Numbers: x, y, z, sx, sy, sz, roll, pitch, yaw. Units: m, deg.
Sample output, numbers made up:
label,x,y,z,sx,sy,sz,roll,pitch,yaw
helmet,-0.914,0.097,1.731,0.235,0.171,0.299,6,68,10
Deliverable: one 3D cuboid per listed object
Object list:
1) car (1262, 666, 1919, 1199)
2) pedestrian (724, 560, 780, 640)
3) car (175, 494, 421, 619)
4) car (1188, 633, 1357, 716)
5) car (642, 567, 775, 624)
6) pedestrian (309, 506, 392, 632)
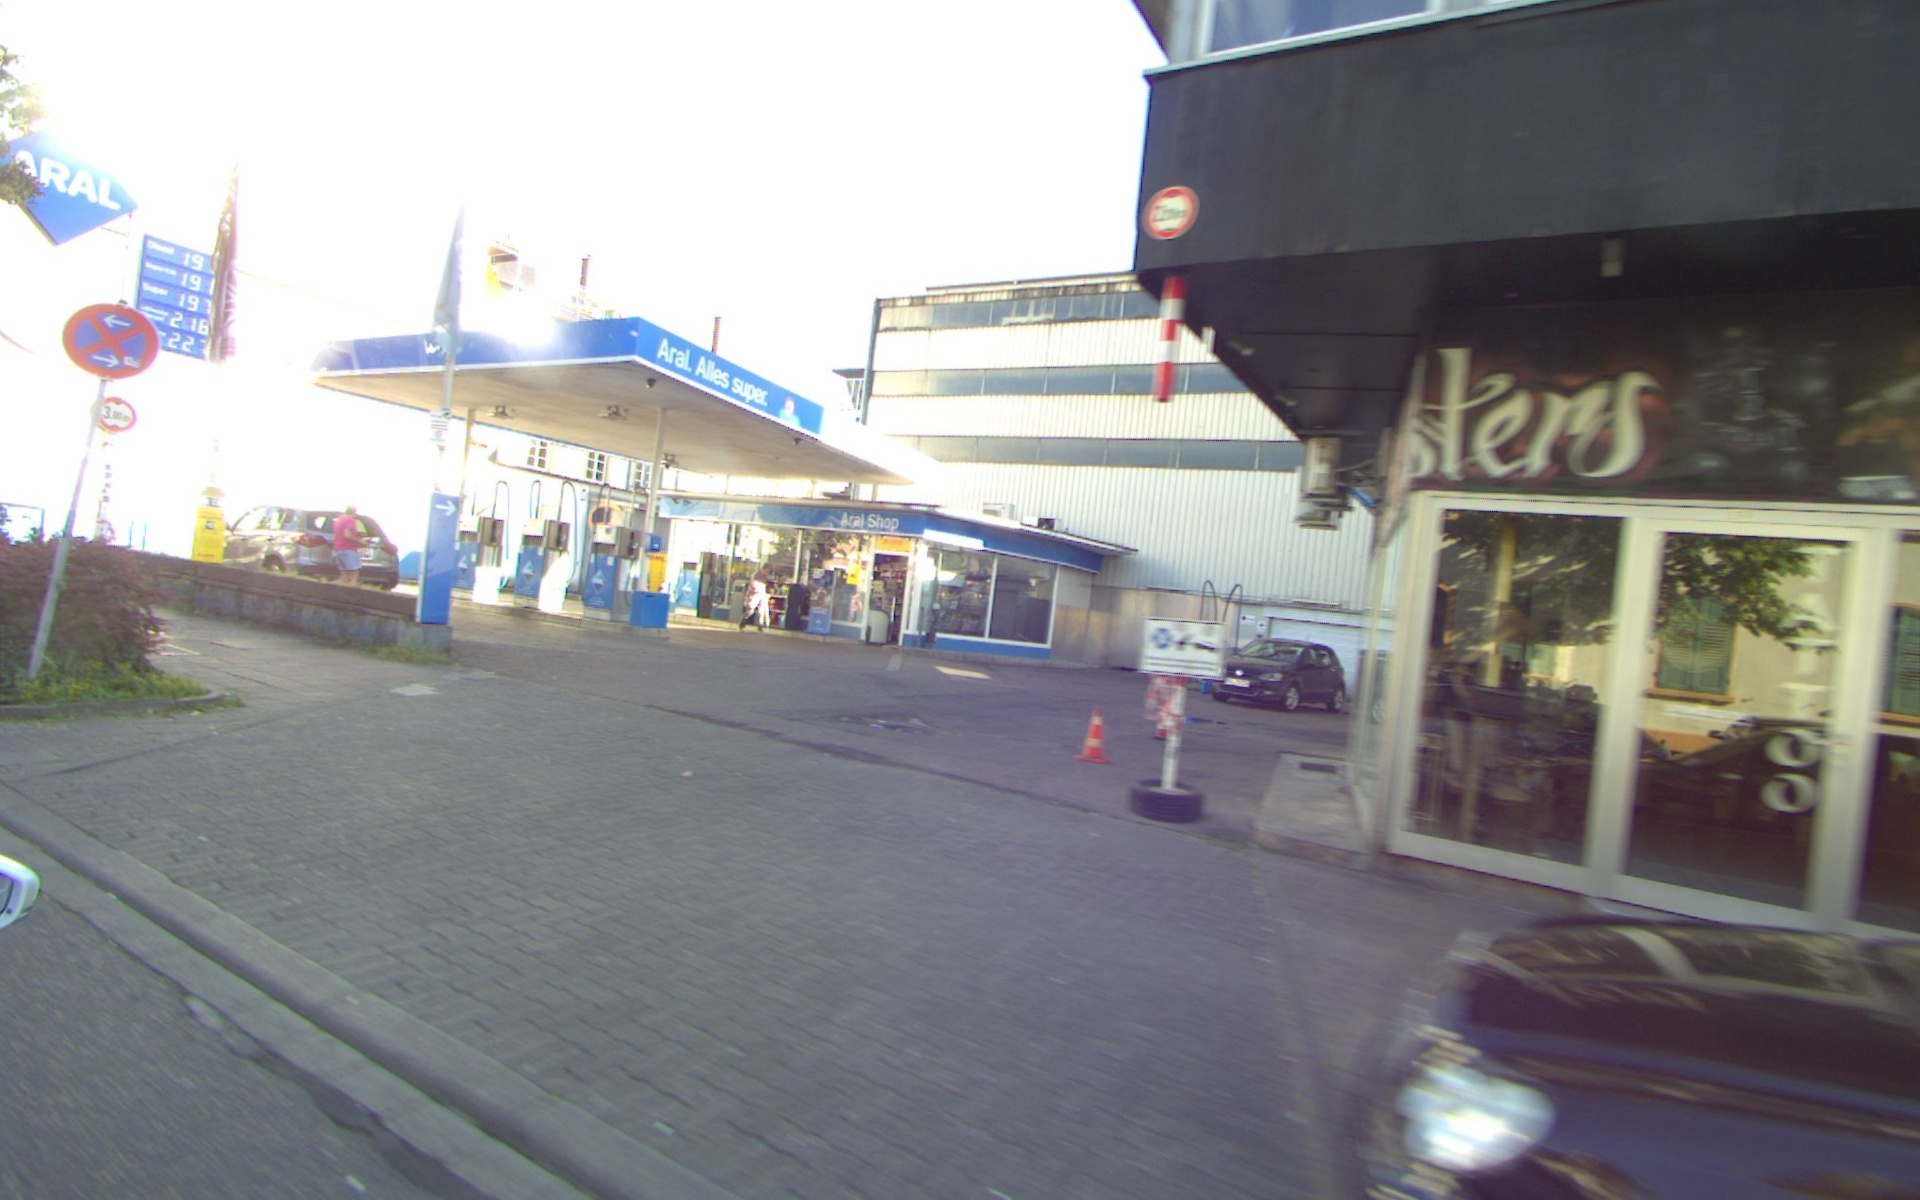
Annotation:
label,x,y,z,sx,sy,sz,roll,pitch,yaw
car,2.980,1.113,1.415,4.569,1.430,1.902,6,1,31
pedestrian,-4.882,0.012,23.680,0.806,1.763,0.818,7,0,19
car,-11.428,-0.774,17.307,4.223,1.669,1.902,7,0,33
car,6.639,1.572,21.119,1.880,1.375,3.982,7,0,40
car,-8.395,-0.122,33.860,1.968,1.482,3.989,7,0,33
pedestrian,-9.537,-0.470,15.759,0.696,1.873,0.688,6,1,15
